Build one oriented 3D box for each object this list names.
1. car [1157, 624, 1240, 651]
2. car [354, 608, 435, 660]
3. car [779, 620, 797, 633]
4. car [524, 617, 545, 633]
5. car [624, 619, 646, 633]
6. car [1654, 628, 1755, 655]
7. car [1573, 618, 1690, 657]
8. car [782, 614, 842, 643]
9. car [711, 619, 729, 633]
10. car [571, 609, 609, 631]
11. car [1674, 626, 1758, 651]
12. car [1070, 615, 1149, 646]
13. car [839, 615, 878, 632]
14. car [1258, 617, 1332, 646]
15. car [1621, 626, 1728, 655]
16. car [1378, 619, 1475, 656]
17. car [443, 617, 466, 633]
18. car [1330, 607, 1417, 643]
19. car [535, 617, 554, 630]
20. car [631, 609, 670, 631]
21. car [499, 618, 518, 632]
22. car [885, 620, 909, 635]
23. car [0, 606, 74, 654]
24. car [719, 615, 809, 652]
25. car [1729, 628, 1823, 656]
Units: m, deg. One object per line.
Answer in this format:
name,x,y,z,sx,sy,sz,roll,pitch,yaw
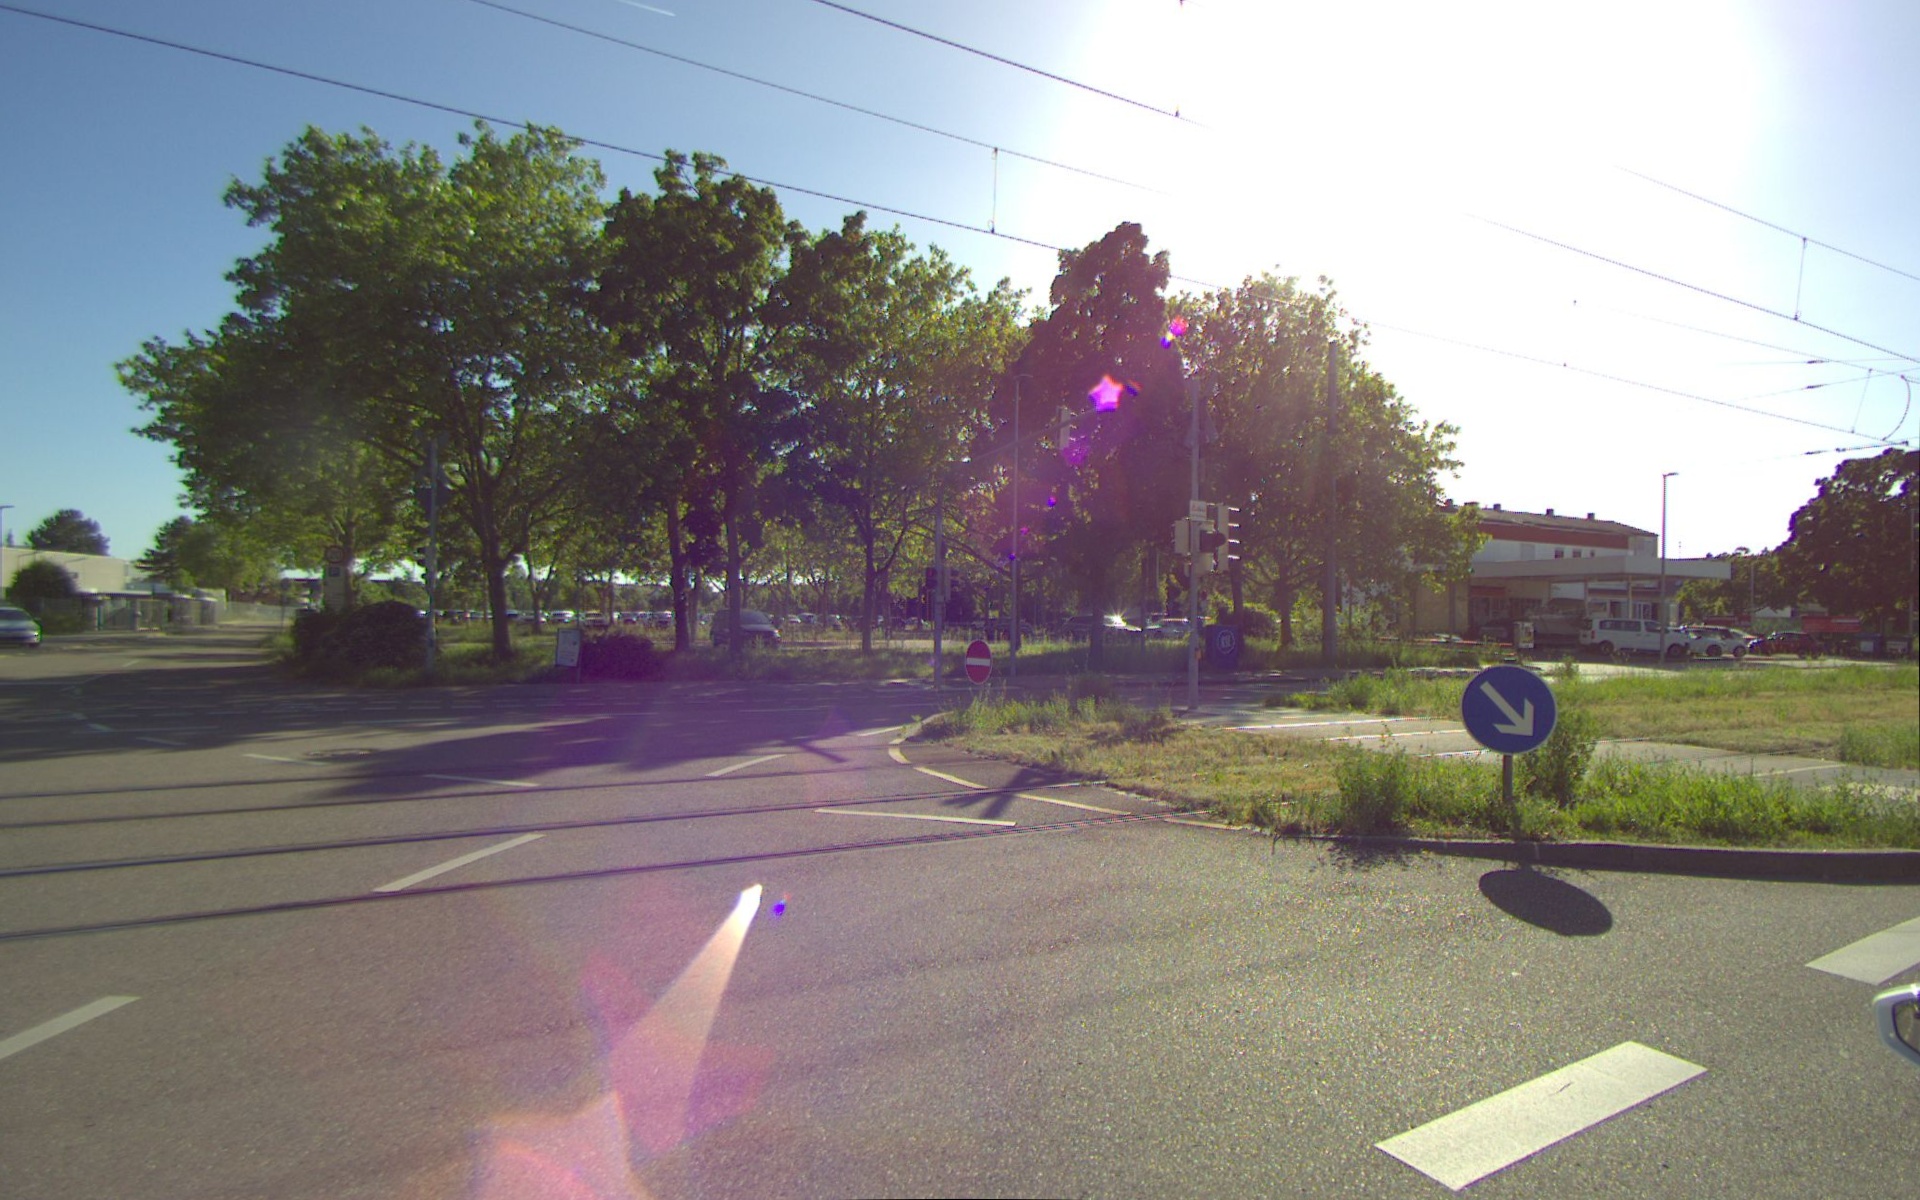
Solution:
car,11.618,1.812,49.101,1.647,1.182,3.943,1,-1,-32
car,-19.745,1.133,35.006,1.815,1.690,3.955,1,-1,-39
car,-20.457,3.147,119.139,1.955,1.569,4.422,1,-1,-12
car,-45.026,2.650,106.245,1.963,1.569,4.405,1,-1,-24
car,-37.597,3.004,116.350,1.955,1.569,4.422,1,-1,-12
car,42.138,2.339,56.914,4.382,1.490,1.792,0,-1,1
car,34.976,1.943,52.422,4.689,2.000,1.862,0,-1,10
car,-7.813,1.465,52.791,1.648,1.451,3.942,1,-1,-33
car,-28.885,3.140,120.757,1.955,1.569,4.422,1,-1,-12
car,-28.985,1.571,78.716,1.813,1.690,3.960,1,-1,-36
car,49.207,2.502,65.447,1.771,1.589,4.052,1,-2,-30
car,7.273,1.498,49.198,1.648,1.451,3.943,1,-2,-33
car,-9.080,2.077,89.675,1.828,1.451,3.942,1,-1,-33
car,18.944,1.775,56.762,4.033,1.565,1.573,1,-1,-25
car,38.746,2.163,54.551,4.380,1.548,1.793,0,-1,10
car,22.572,1.794,48.693,1.712,1.545,3.942,4,-2,-32
car,-52.094,2.586,103.569,1.949,1.569,4.405,1,-1,-24
car,25.064,1.526,61.061,1.996,2.119,4.701,1,-2,-29
car,-50.412,2.835,121.757,1.963,1.569,4.405,1,-1,-24
car,-25.012,1.615,81.093,1.813,1.690,3.960,1,-1,-36
car,-53.860,2.979,119.776,1.963,1.569,4.405,1,-1,-24
car,-6.867,2.959,108.774,1.955,1.569,4.422,1,-1,-12
car,-34.458,1.083,37.020,1.968,1.661,4.392,1,-2,-32
car,-7.908,1.324,40.380,1.859,1.400,3.952,1,-2,-41
car,49.118,2.519,60.530,1.771,1.589,4.052,1,-2,-30
